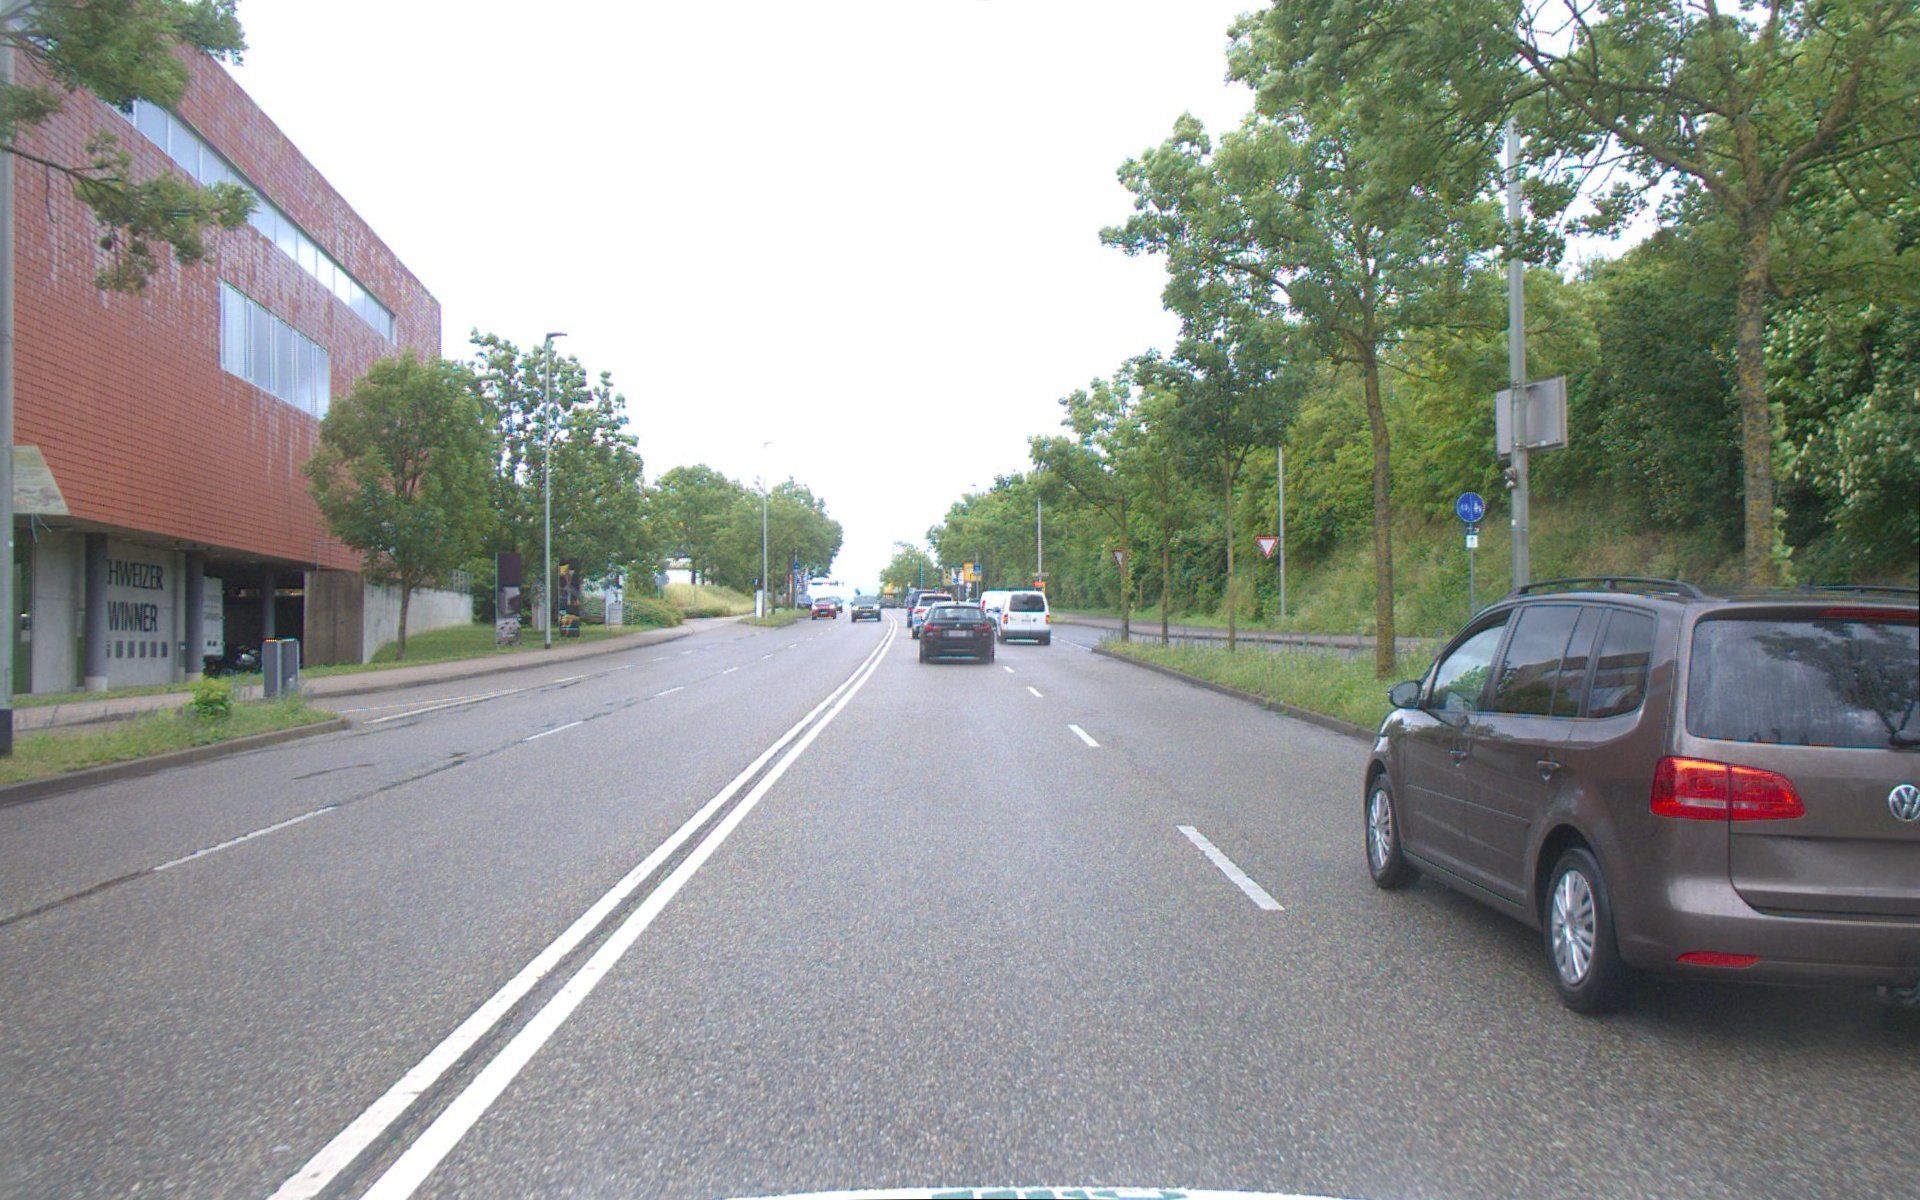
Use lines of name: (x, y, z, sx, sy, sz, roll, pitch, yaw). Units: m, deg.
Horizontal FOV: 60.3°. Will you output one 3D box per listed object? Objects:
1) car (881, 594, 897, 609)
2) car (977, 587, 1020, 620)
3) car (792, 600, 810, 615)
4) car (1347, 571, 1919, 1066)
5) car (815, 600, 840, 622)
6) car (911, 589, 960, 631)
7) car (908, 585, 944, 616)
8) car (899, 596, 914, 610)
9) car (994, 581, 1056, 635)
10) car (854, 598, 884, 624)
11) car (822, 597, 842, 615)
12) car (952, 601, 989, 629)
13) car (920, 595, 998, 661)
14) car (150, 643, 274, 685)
car: (-8.081, 0.190, 187.743, 1.758, 1.537, 3.998, 1, -1, -3)
car: (1.810, 0.182, 79.114, 1.758, 1.537, 3.997, 1, -1, -3)
car: (-16.549, 0.766, 172.248, 1.759, 1.537, 3.996, 1, -1, -4)
car: (3.128, 0.713, 7.523, 1.651, 1.609, 4.217, 1, 0, -1)
car: (-9.616, 0.799, 120.418, 1.759, 1.537, 3.996, 1, -1, -4)
car: (-0.975, 0.387, 63.294, 1.758, 1.537, 3.998, 1, -1, -2)
car: (-1.717, 0.045, 83.966, 1.758, 1.537, 3.999, 1, -1, -1)
car: (-6.414, 0.358, 199.052, 1.758, 1.537, 3.998, 1, -1, -3)
car: (2.219, 0.258, 57.581, 1.790, 1.790, 3.998, 1, 0, -3)
car: (-5.752, 0.695, 104.312, 1.759, 1.537, 3.996, 1, -1, -4)
car: (-11.742, 0.560, 152.317, 1.759, 1.537, 3.996, 1, -1, -4)
car: (0.581, 0.844, 93.367, 1.759, 1.537, 3.996, 1, -1, -4)
car: (-0.039, 0.660, 40.946, 1.790, 1.494, 4.000, 2, 0, 0)
car: (-25.241, 2.160, 55.861, 3.463, 1.307, 1.521, 1, -1, 2)
